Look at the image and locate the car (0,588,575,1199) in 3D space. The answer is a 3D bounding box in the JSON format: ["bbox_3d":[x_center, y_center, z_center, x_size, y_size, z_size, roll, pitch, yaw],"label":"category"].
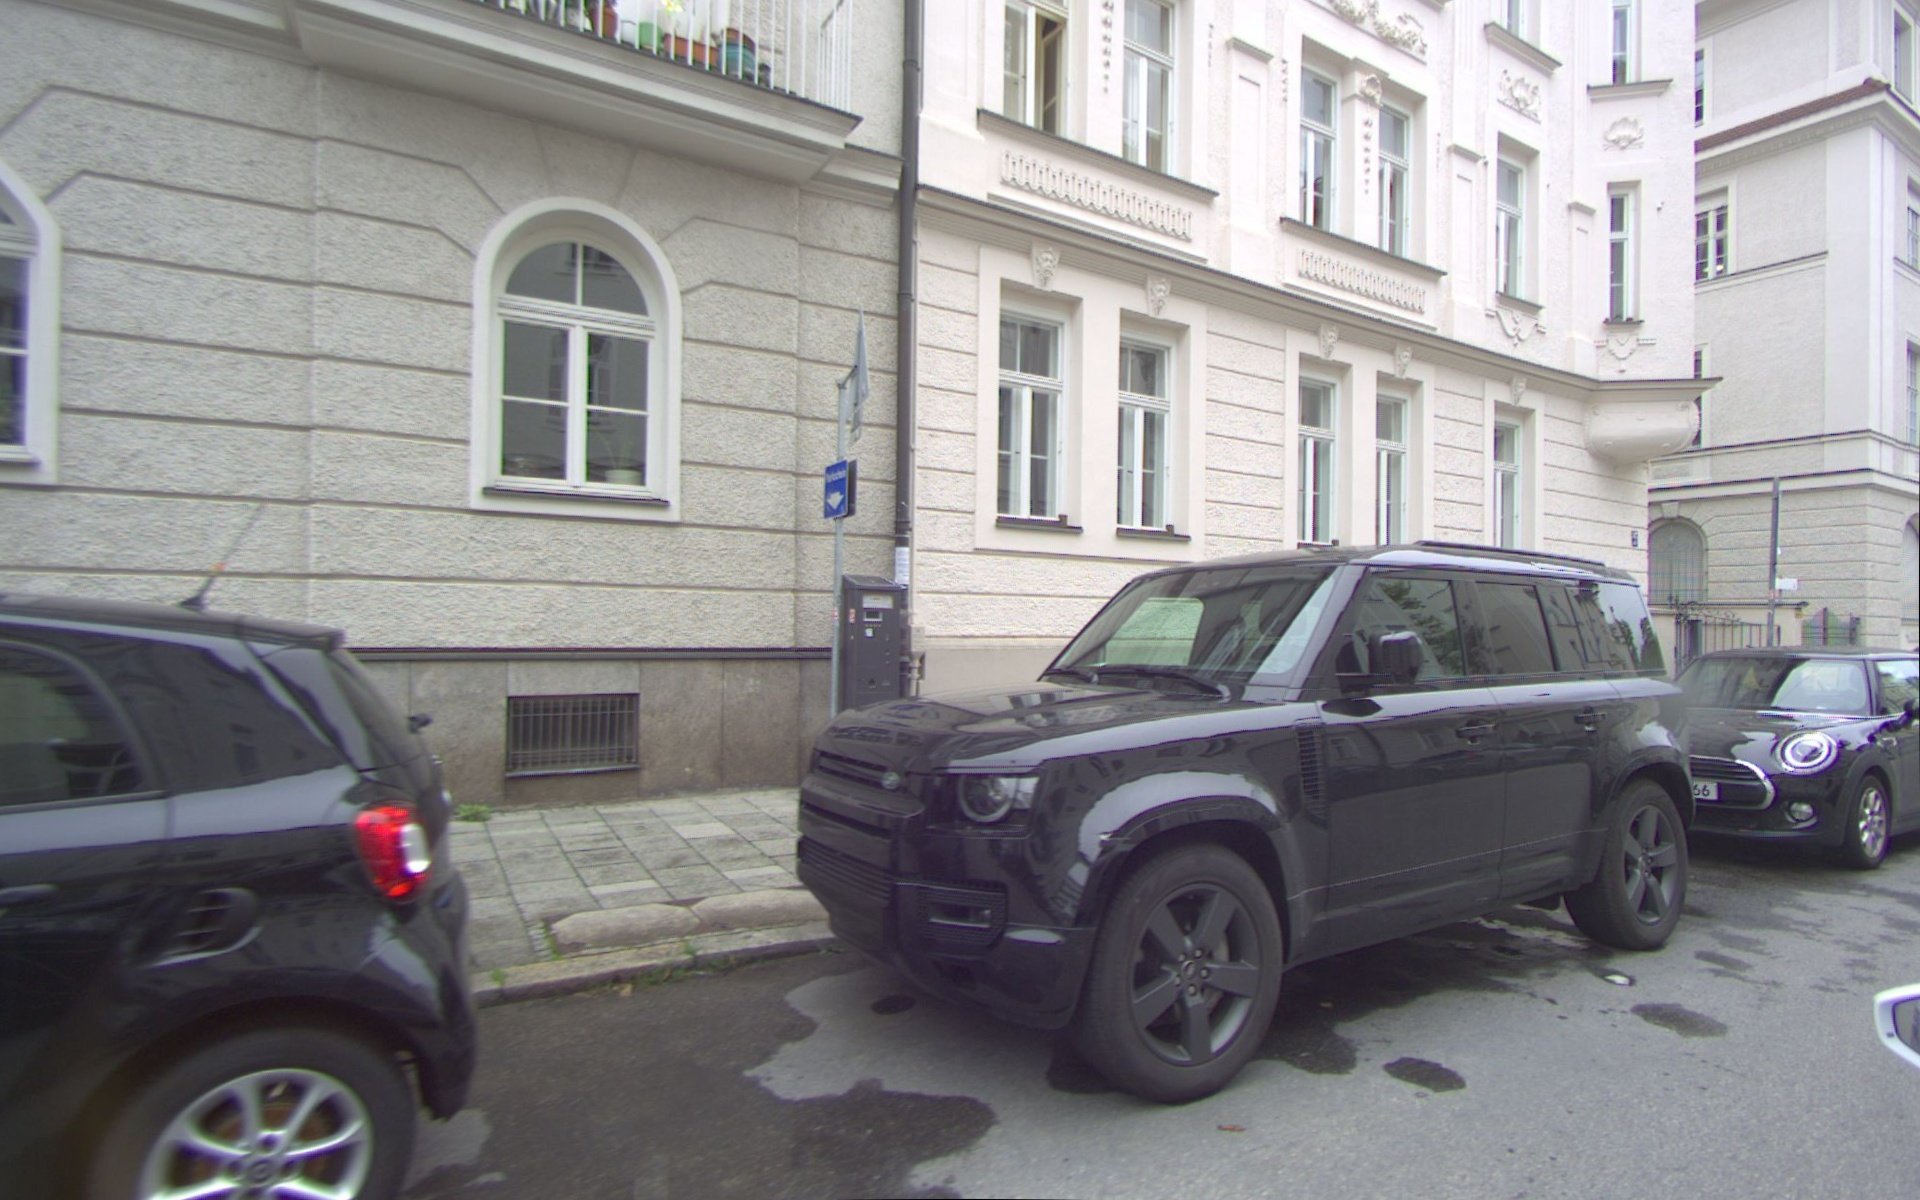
[{"bbox_3d":[-2.856,0.748,2.226,3.493,1.533,1.607,2,-2,-33],"label":"car"}]

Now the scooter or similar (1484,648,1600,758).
[{"bbox_3d":[6.885,1.181,11.867,1.531,1.216,0.529,2,-1,-32],"label":"scooter or similar"}]

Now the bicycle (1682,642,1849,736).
[{"bbox_3d":[12.686,1.350,15.799,2.686,1.259,1.145,2,3,-32],"label":"bicycle"}]

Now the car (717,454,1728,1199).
[{"bbox_3d":[1.460,0.666,4.645,4.712,1.919,1.826,1,-3,-33],"label":"car"}]

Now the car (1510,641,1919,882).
[{"bbox_3d":[6.368,1.034,7.818,4.197,1.412,1.827,1,-3,-32],"label":"car"}]

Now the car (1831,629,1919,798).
[{"bbox_3d":[11.103,1.149,10.726,4.079,1.640,1.716,2,-3,-34],"label":"car"}]
